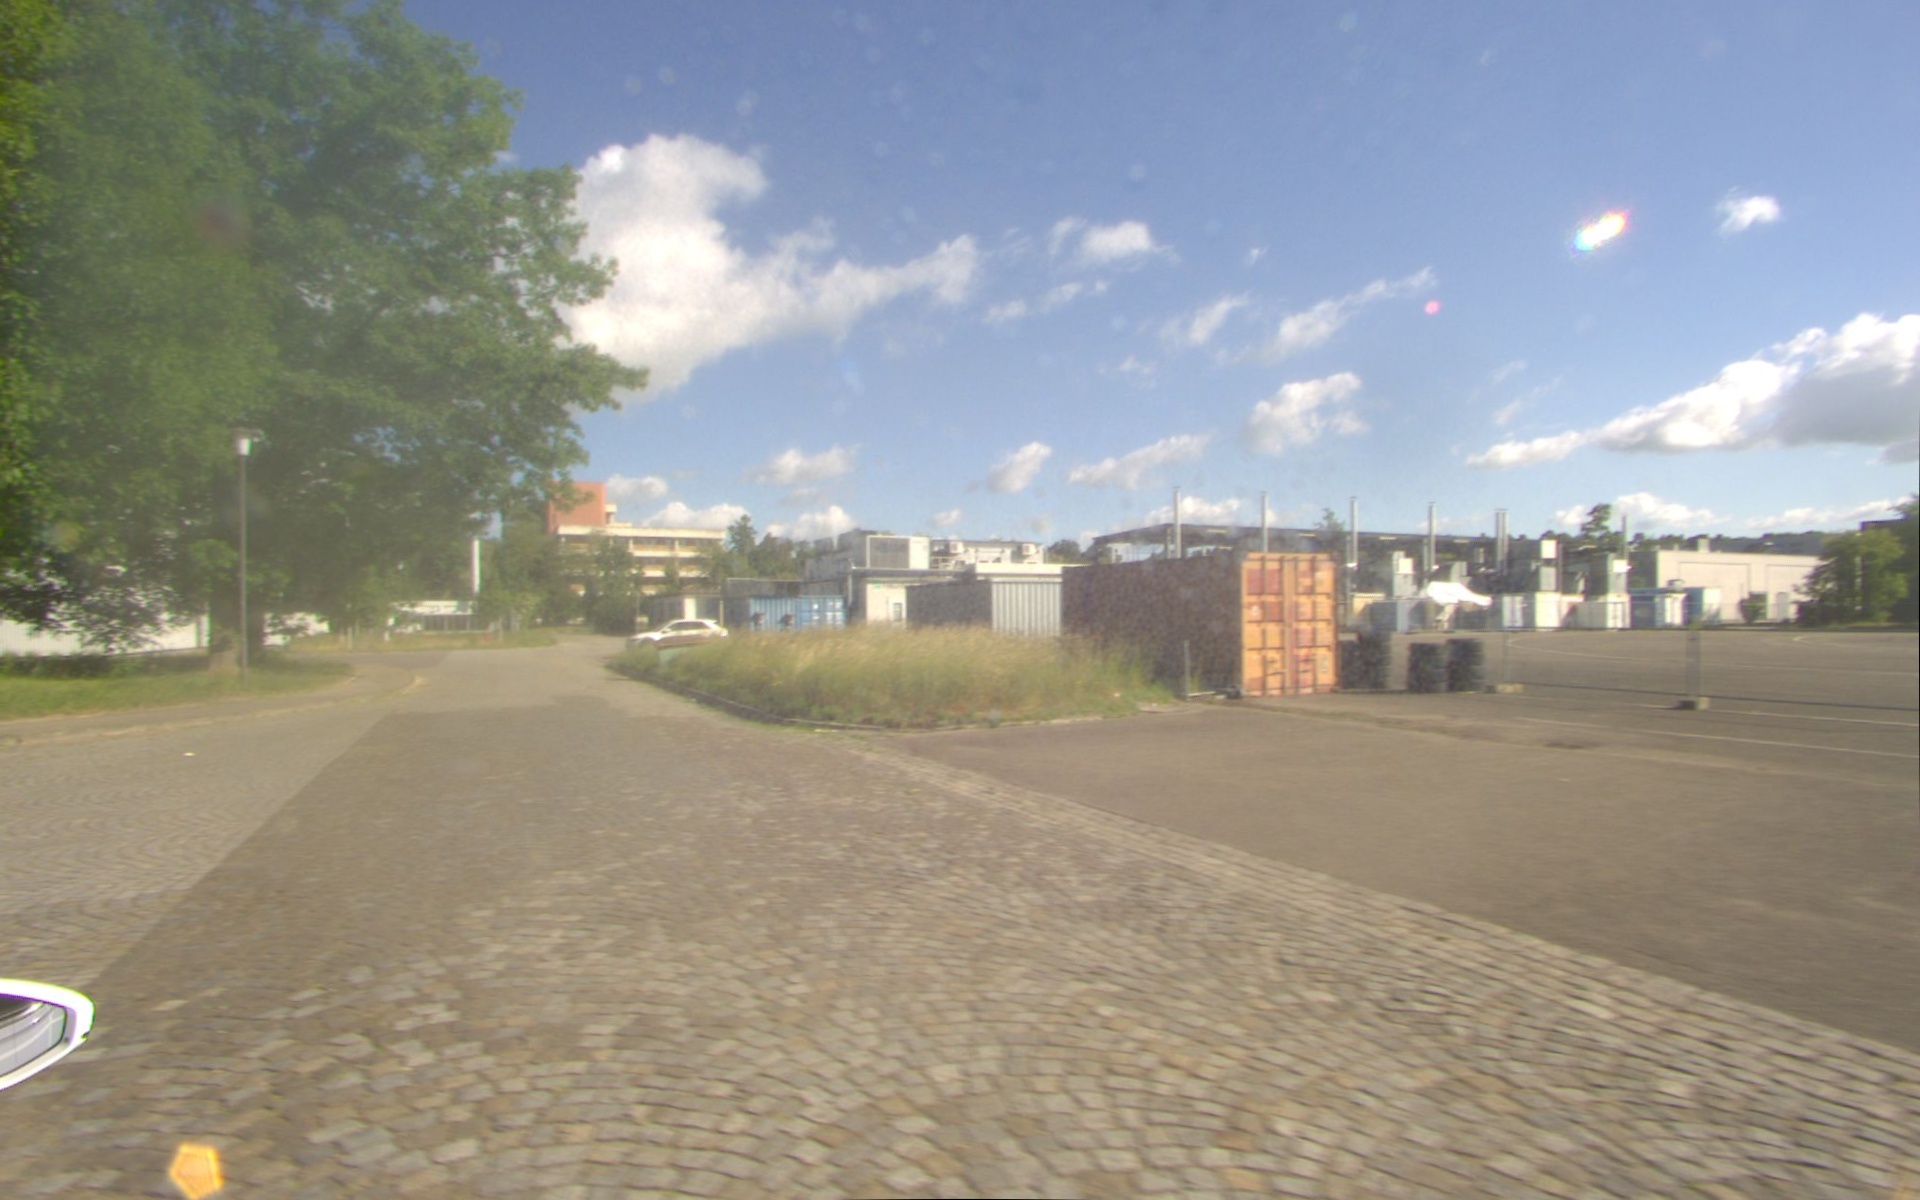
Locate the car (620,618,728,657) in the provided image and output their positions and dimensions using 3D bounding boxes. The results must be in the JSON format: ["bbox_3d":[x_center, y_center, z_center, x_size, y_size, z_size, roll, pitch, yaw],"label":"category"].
[{"bbox_3d":[-13.119,1.684,45.950,4.532,1.699,1.867,0,-1,-27],"label":"car"}]
